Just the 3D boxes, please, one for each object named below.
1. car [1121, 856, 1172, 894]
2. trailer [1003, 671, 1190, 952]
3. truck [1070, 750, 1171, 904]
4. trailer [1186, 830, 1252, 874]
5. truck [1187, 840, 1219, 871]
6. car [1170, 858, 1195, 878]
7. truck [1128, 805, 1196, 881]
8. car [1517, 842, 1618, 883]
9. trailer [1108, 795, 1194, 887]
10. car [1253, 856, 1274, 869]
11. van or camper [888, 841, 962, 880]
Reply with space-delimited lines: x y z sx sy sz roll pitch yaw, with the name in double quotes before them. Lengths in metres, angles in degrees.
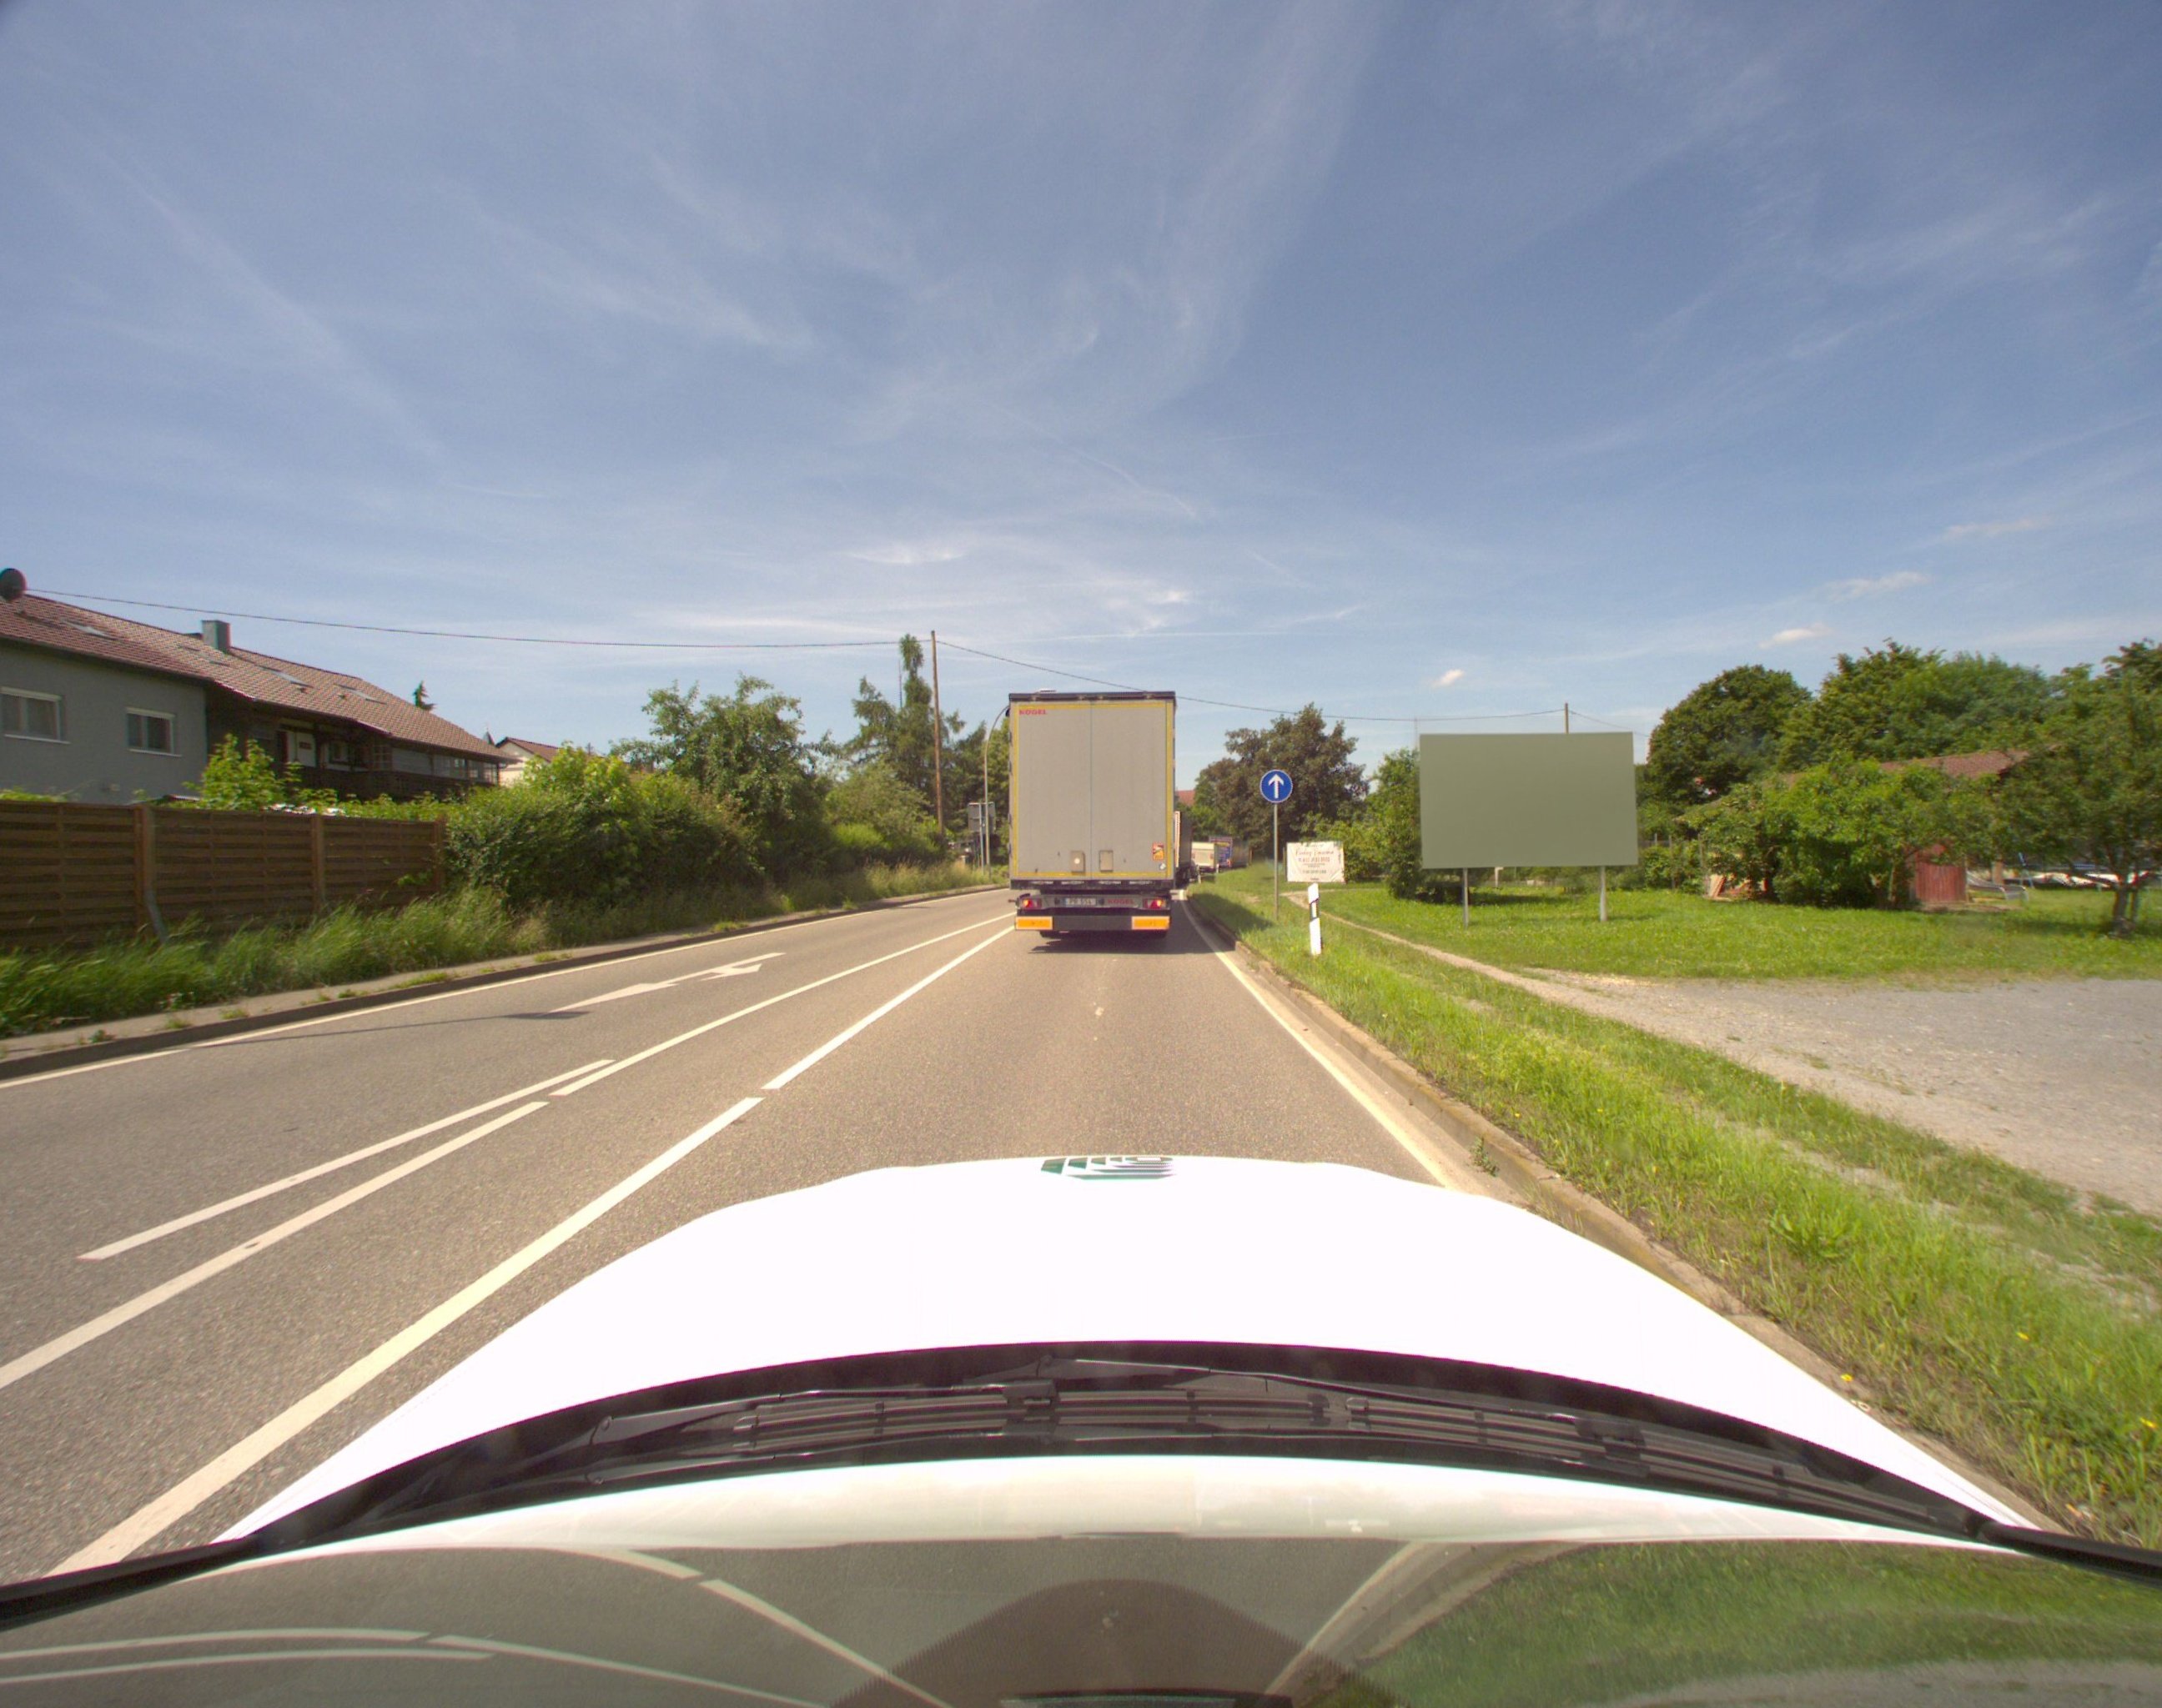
"car" 2.924 0.866 35.666 1.982 1.530 4.009 0 0 8
"trailer" 0.737 -0.672 18.297 2.774 4.205 12.127 0 0 5
"truck" 1.368 -0.742 25.282 2.732 4.165 6.152 0 0 5
"trailer" 16.098 -0.247 93.137 5.138 4.628 15.969 0 0 18
"truck" 11.439 0.125 75.980 2.403 2.838 5.432 0 0 14
"car" 8.077 1.114 64.647 1.830 1.486 4.010 0 0 9
"truck" 5.463 -0.658 53.496 3.913 4.575 7.171 -1 0 10
"car" 24.811 0.422 41.677 3.964 2.013 2.005 0 0 9
"trailer" 4.328 -0.606 46.661 3.867 4.521 12.747 -1 0 10
"car" 25.926 1.207 115.705 1.975 1.684 4.023 -1 0 25
"van or camper" -11.225 0.464 58.968 4.838 2.715 2.198 -1 0 1
